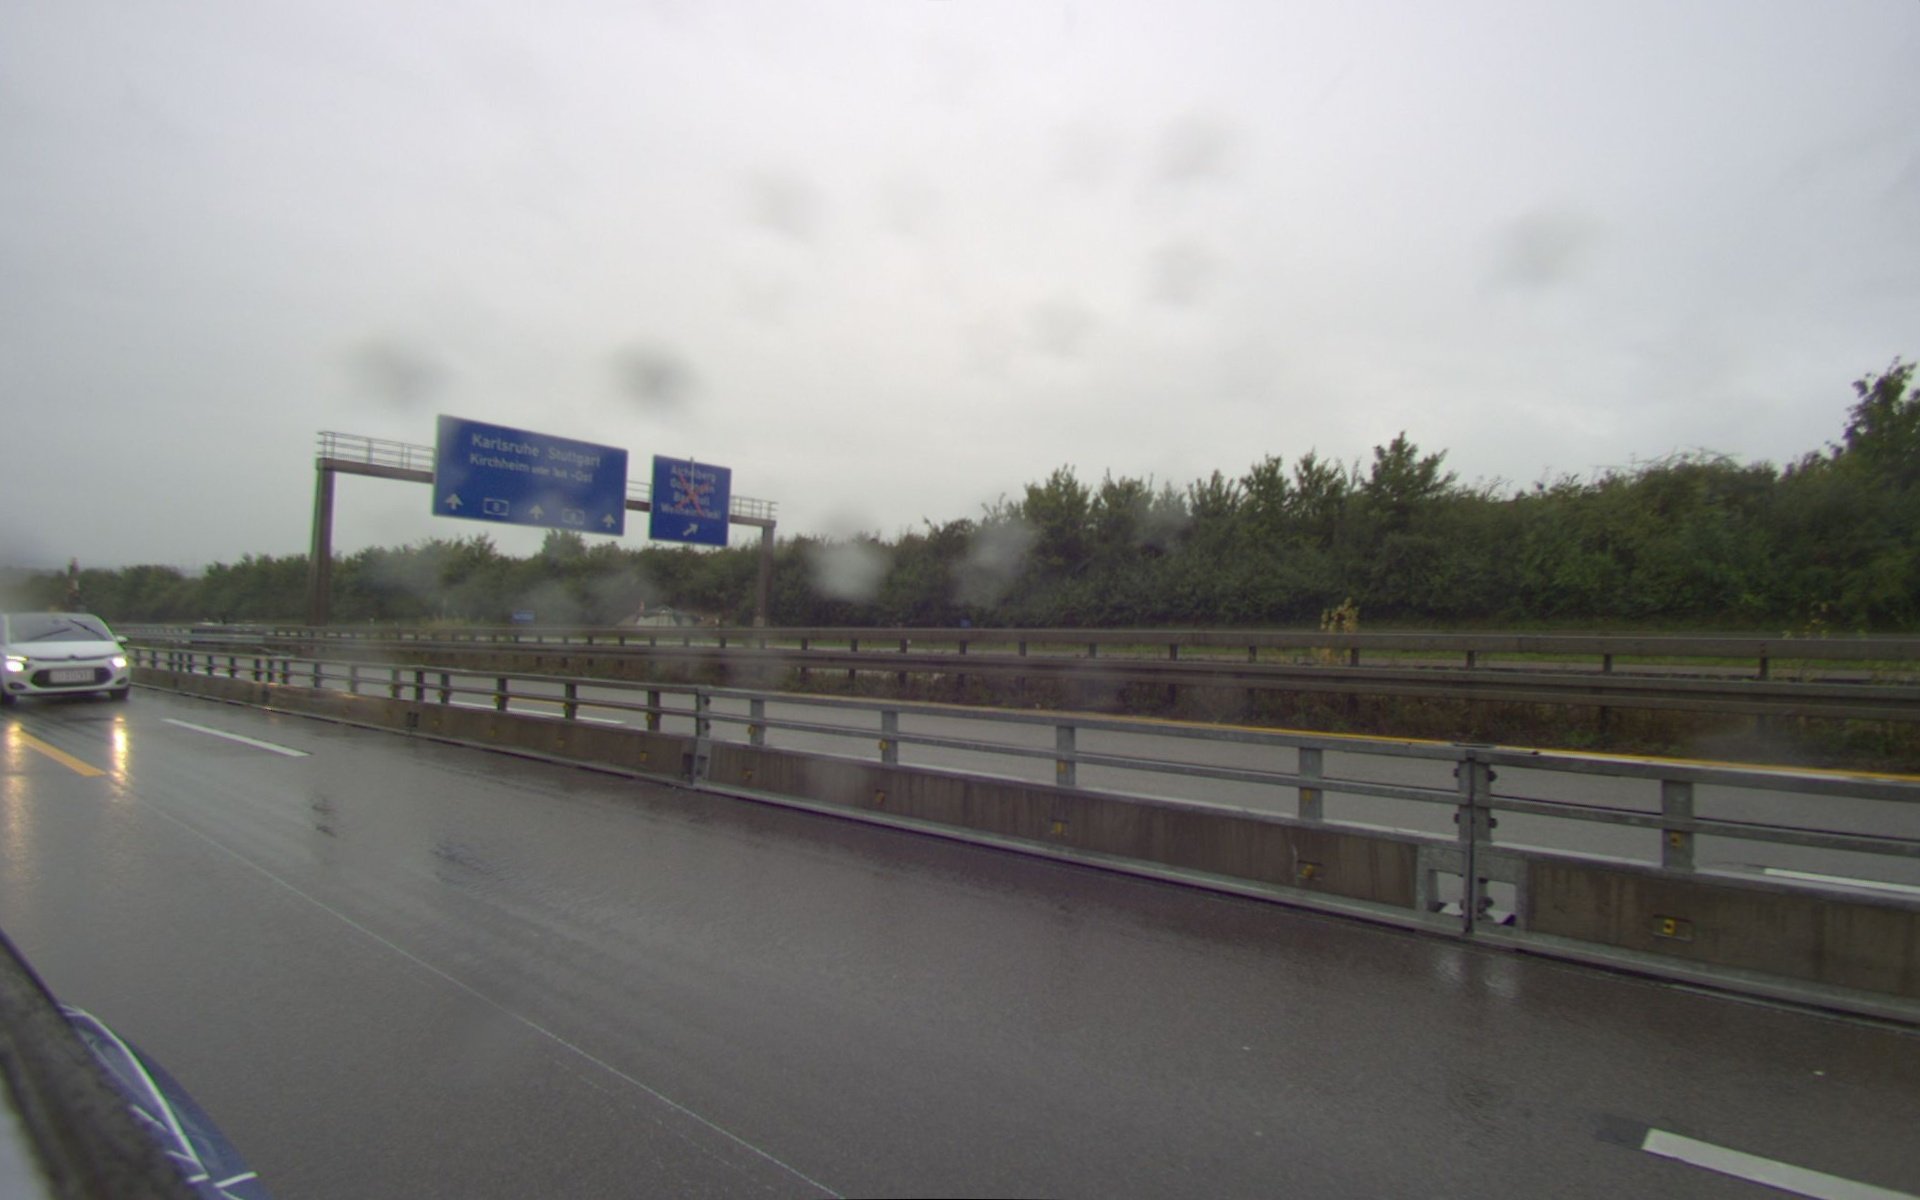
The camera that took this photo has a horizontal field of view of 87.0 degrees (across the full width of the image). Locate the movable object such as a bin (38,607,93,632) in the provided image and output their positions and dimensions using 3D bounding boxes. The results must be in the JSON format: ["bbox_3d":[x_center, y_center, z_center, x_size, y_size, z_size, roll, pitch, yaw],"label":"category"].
[{"bbox_3d":[-104.840,2.289,118.584,6.322,2.819,3.729,-1,0,38],"label":"movable object such as a bin"}]

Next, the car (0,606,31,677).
[{"bbox_3d":[-30.090,1.248,30.631,5.559,2.029,2.183,-1,0,40],"label":"car"}]

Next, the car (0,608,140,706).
[{"bbox_3d":[-16.950,1.030,18.812,4.307,1.608,1.953,-3,-2,41],"label":"car"}]
